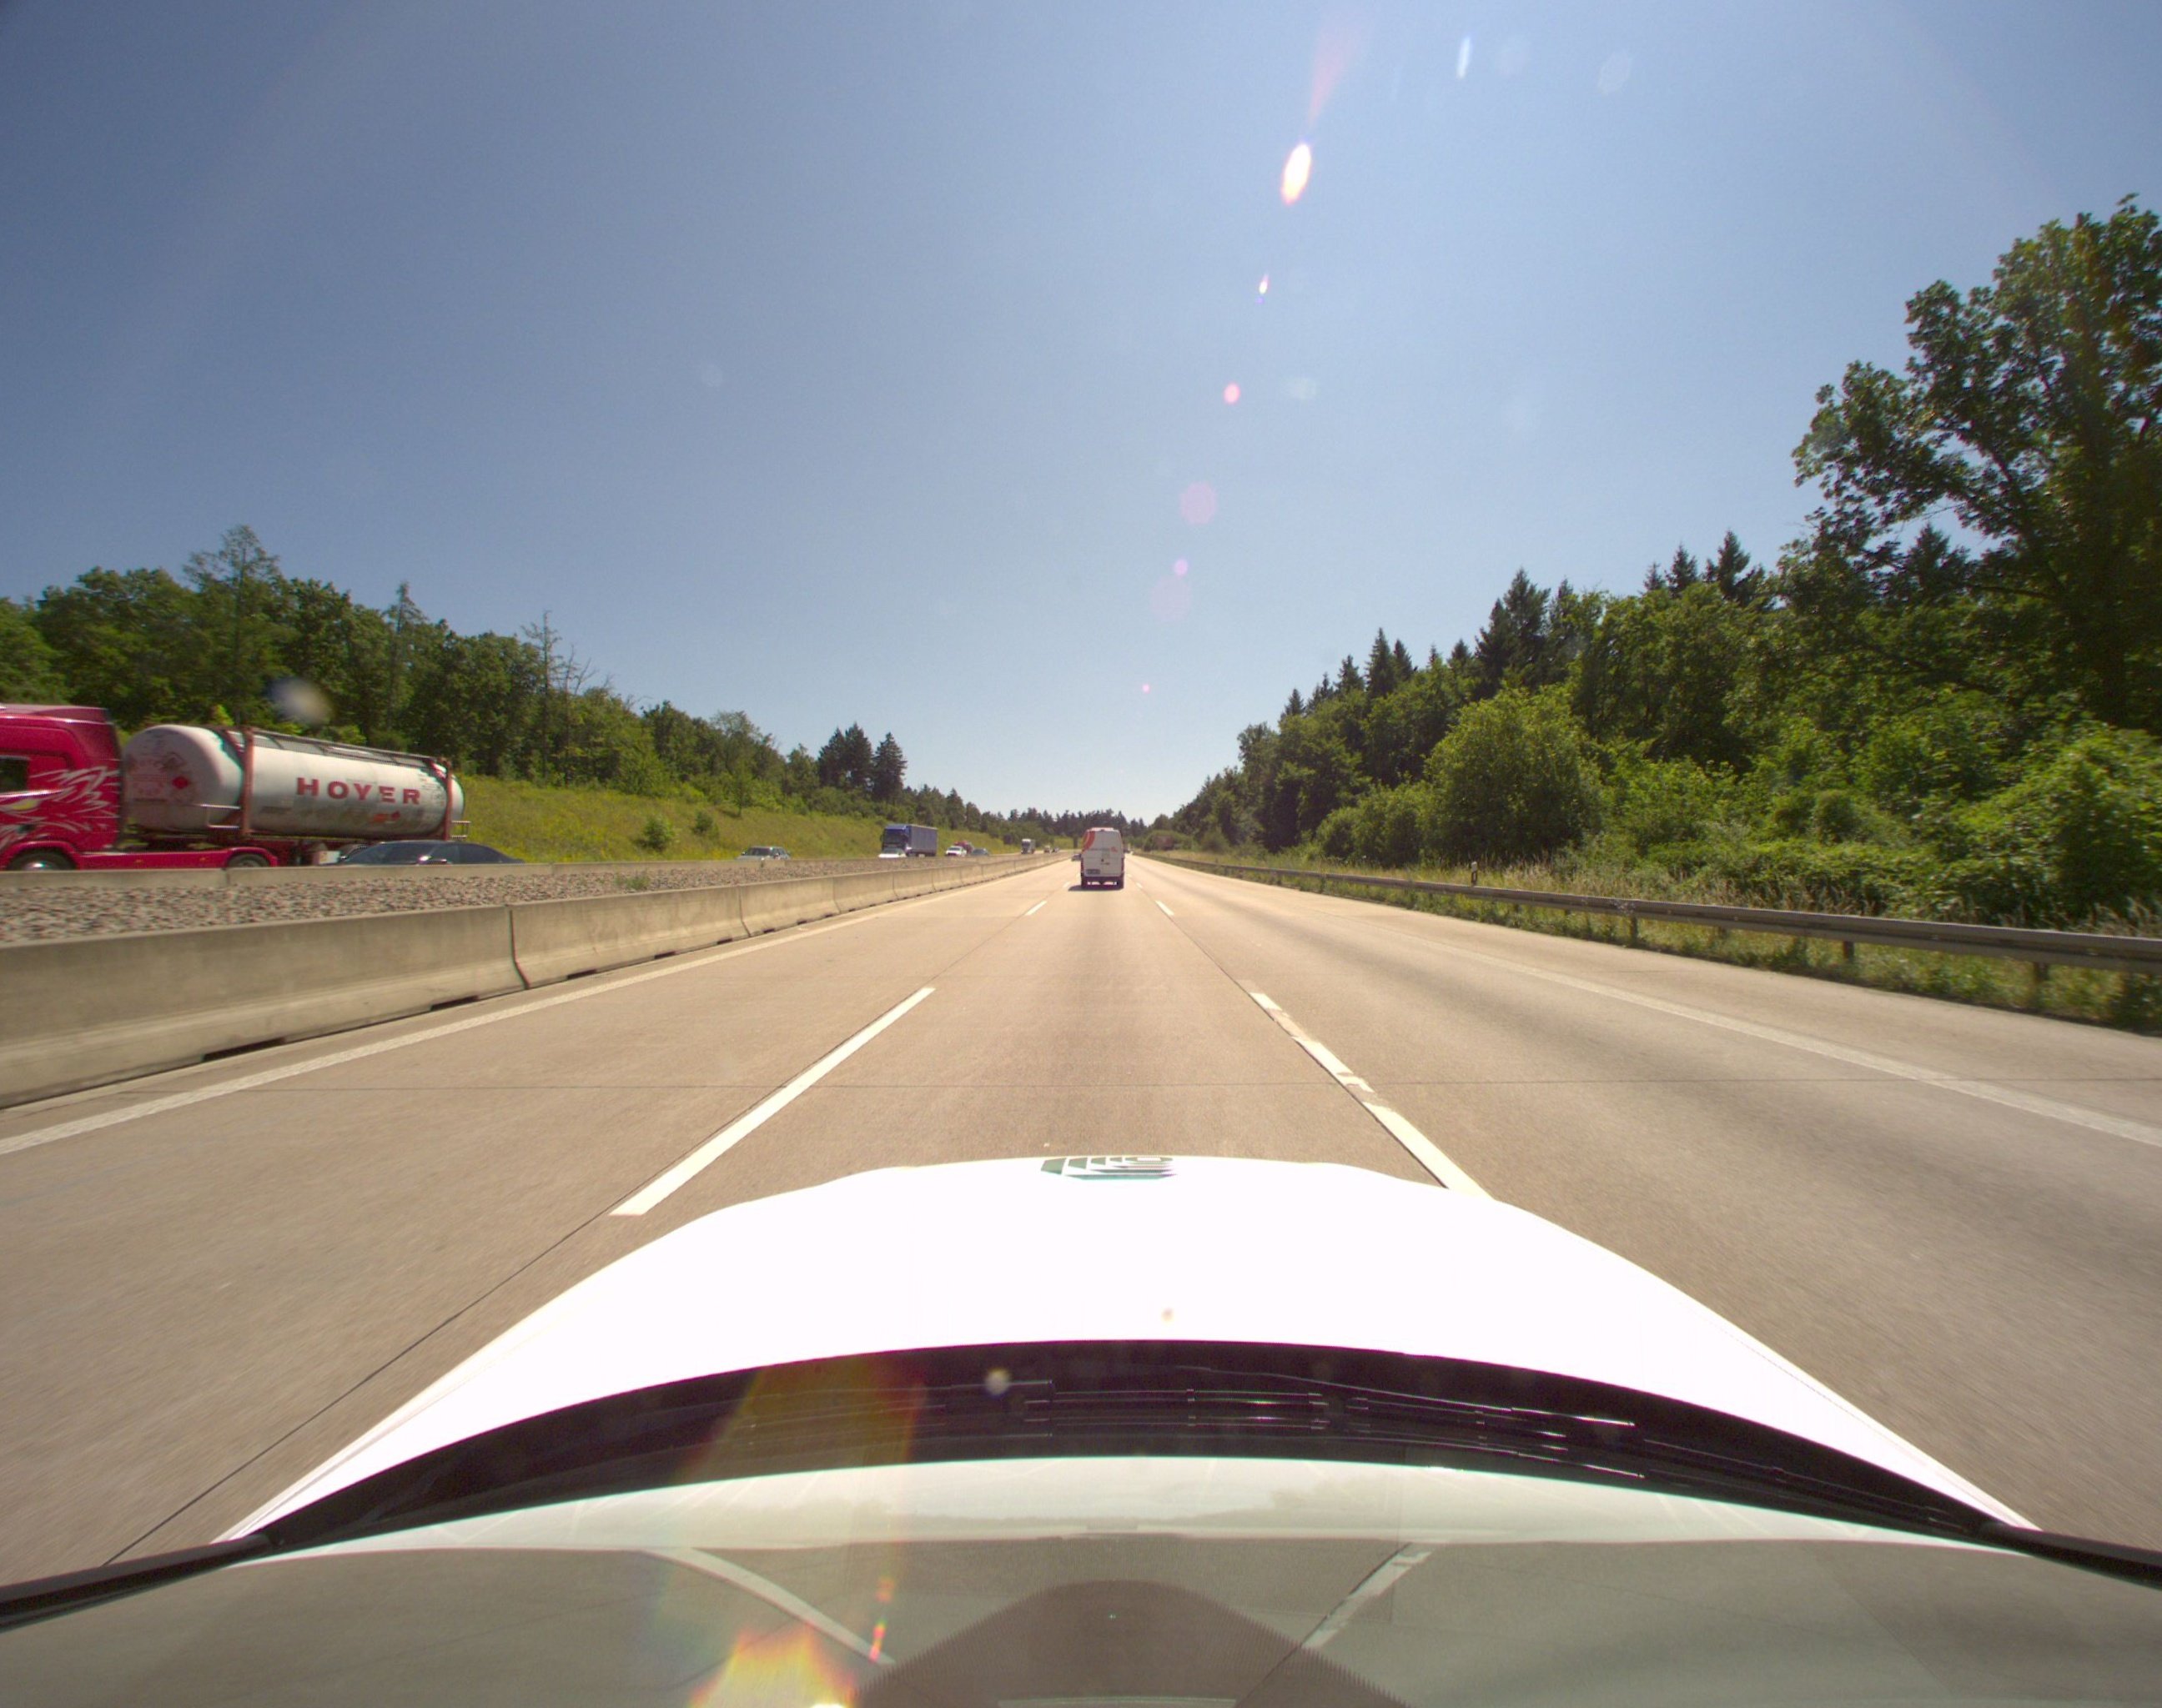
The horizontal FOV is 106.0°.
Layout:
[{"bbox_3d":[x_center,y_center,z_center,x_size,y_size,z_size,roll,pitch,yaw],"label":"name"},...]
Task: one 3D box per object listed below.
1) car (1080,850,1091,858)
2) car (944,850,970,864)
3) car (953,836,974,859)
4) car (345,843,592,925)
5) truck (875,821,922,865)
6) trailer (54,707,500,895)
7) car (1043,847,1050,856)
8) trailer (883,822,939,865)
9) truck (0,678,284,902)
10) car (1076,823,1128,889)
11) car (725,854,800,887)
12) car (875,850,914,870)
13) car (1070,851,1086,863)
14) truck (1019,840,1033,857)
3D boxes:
[{"bbox_3d":[0.948,-0.033,168.726,1.984,1.684,4.006,1,0,6],"label":"car"},{"bbox_3d":[-14.562,0.346,95.654,1.986,1.583,5.521,0,0,2],"label":"car"},{"bbox_3d":[-17.402,-0.931,121.092,1.986,3.241,7.063,1,0,1],"label":"car"},{"bbox_3d":[-13.334,0.585,18.174,1.986,1.583,4.466,0,0,2],"label":"car"},{"bbox_3d":[-19.316,-1.106,86.636,3.245,4.504,6.576,1,0,1],"label":"truck"},{"bbox_3d":[-21.310,-1.167,22.872,2.922,4.169,9.339,1,0,2],"label":"trailer"},{"bbox_3d":[-10.694,-0.789,252.458,1.986,2.485,5.181,1,0,2],"label":"car"},{"bbox_3d":[-19.194,-1.077,92.969,3.245,4.504,13.741,1,0,1],"label":"trailer"},{"bbox_3d":[-21.512,-1.193,17.352,2.922,4.169,5.985,1,0,2],"label":"truck"},{"bbox_3d":[0.996,0.054,38.395,2.218,2.844,5.456,1,0,1],"label":"car"},{"bbox_3d":[-16.382,0.815,42.153,1.986,1.583,4.432,0,0,2],"label":"car"},{"bbox_3d":[-15.452,0.522,67.667,1.986,1.583,4.532,0,0,2],"label":"car"},{"bbox_3d":[-0.364,0.463,123.253,1.984,1.684,4.006,1,0,6],"label":"car"},{"bbox_3d":[-15.435,-1.569,229.430,3.244,4.504,7.989,1,0,2],"label":"truck"}]
